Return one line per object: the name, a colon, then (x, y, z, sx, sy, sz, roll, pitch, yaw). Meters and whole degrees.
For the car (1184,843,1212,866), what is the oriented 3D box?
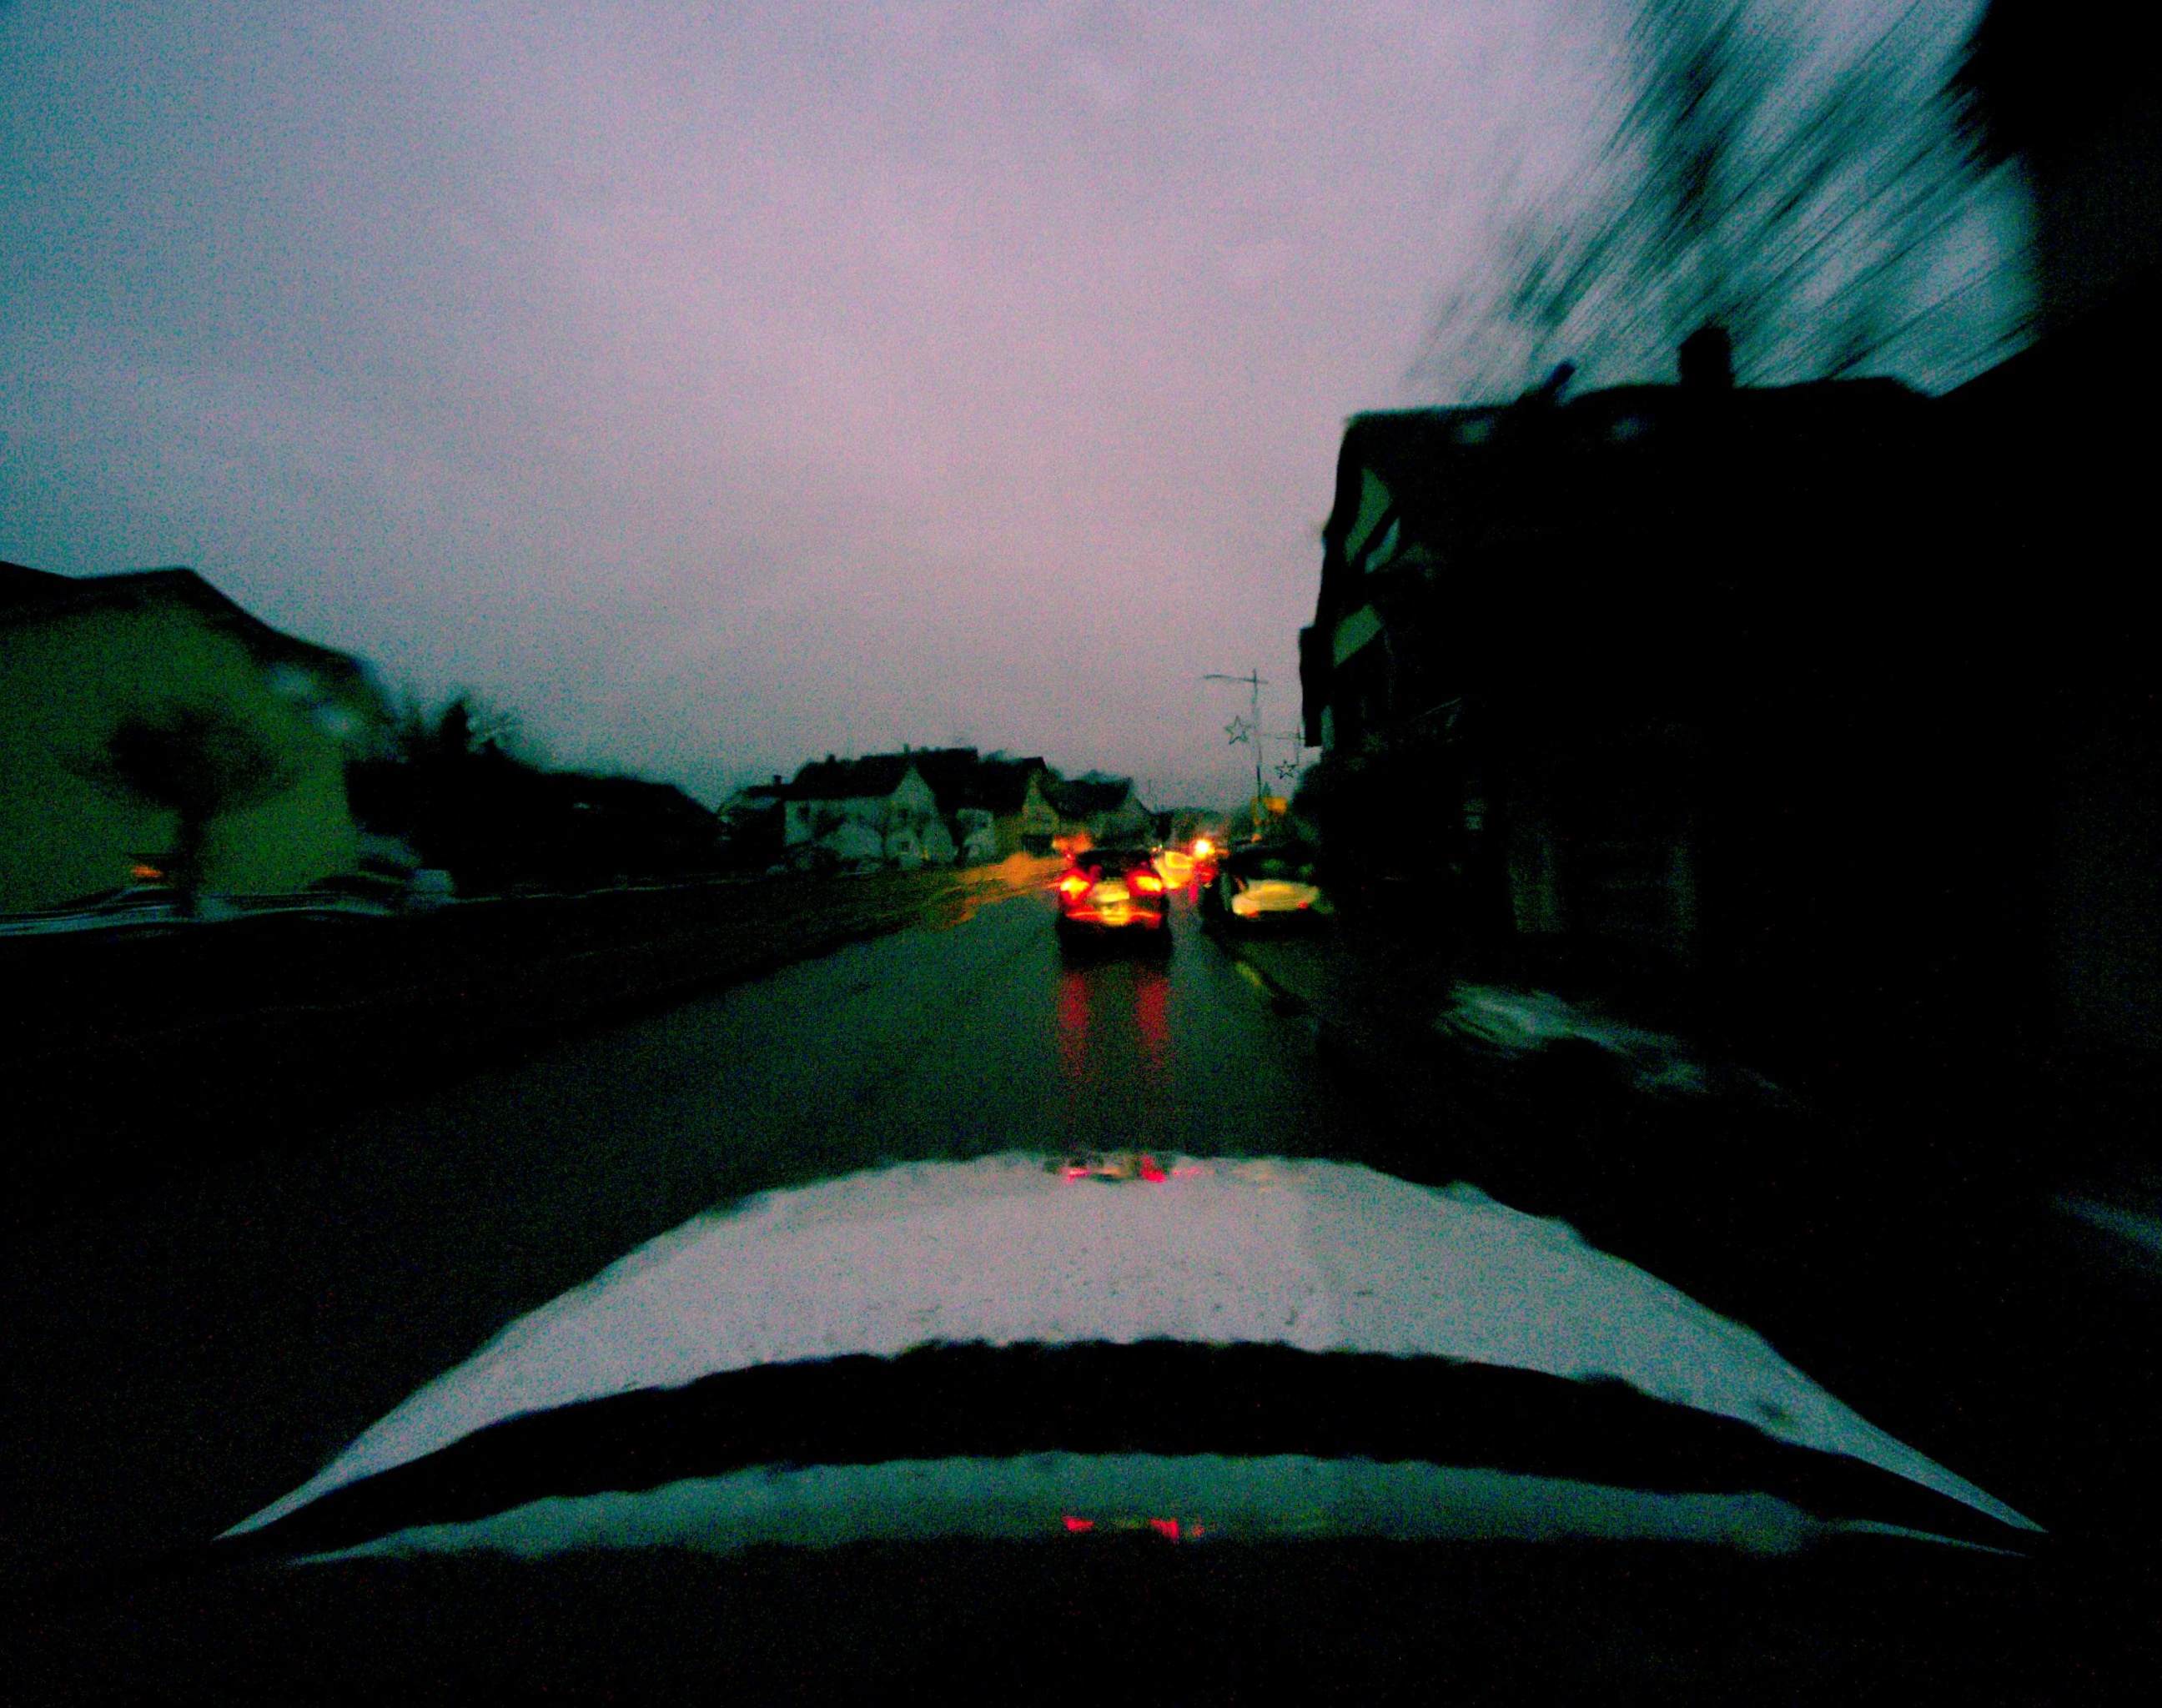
car: (8.003, 0.021, 55.718, 1.804, 1.412, 4.010, -1, 1, 8)

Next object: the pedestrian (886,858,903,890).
pedestrian: (-10.042, 1.088, 43.862, 0.658, 1.697, 0.543, -1, 0, 14)

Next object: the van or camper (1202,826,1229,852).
van or camper: (14.542, -1.619, 87.621, 2.224, 2.669, 6.580, -3, 0, 14)

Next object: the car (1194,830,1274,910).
car: (3.974, 0.354, 21.577, 1.759, 1.782, 4.010, -5, 0, 9)

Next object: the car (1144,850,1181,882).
car: (3.897, 0.527, 38.626, 1.674, 1.453, 4.007, 0, 0, 6)

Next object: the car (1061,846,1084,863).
car: (-0.884, 0.066, 84.972, 1.821, 1.613, 4.045, -3, 1, -8)

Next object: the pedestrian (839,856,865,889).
pedestrian: (-12.455, 1.002, 44.360, 0.921, 1.784, 0.977, -1, 0, 14)

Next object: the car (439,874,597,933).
car: (-19.459, 1.651, 28.430, 1.863, 1.572, 4.512, -4, 1, 8)

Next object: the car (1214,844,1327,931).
car: (3.563, 0.580, 15.772, 1.638, 1.415, 2.731, -5, 0, 4)

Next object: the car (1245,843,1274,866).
car: (17.613, 0.007, 80.170, 2.140, 1.991, 4.522, -6, -1, 19)

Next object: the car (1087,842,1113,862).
car: (1.918, -0.185, 84.259, 2.036, 1.925, 4.045, -3, 1, -8)

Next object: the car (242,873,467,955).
car: (-20.078, 1.583, 22.852, 1.864, 1.778, 4.509, -4, 1, 6)

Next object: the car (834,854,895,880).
car: (-16.558, 1.001, 62.306, 3.962, 1.694, 1.870, -4, 0, 10)

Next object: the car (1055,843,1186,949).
car: (0.560, 0.627, 14.963, 1.960, 1.594, 4.309, -1, 1, -3)

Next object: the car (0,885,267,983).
car: (-20.765, 1.645, 17.549, 1.864, 1.598, 4.232, -4, 1, 6)

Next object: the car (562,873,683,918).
car: (-18.632, 1.636, 33.364, 1.863, 1.433, 4.512, -4, 1, 8)
